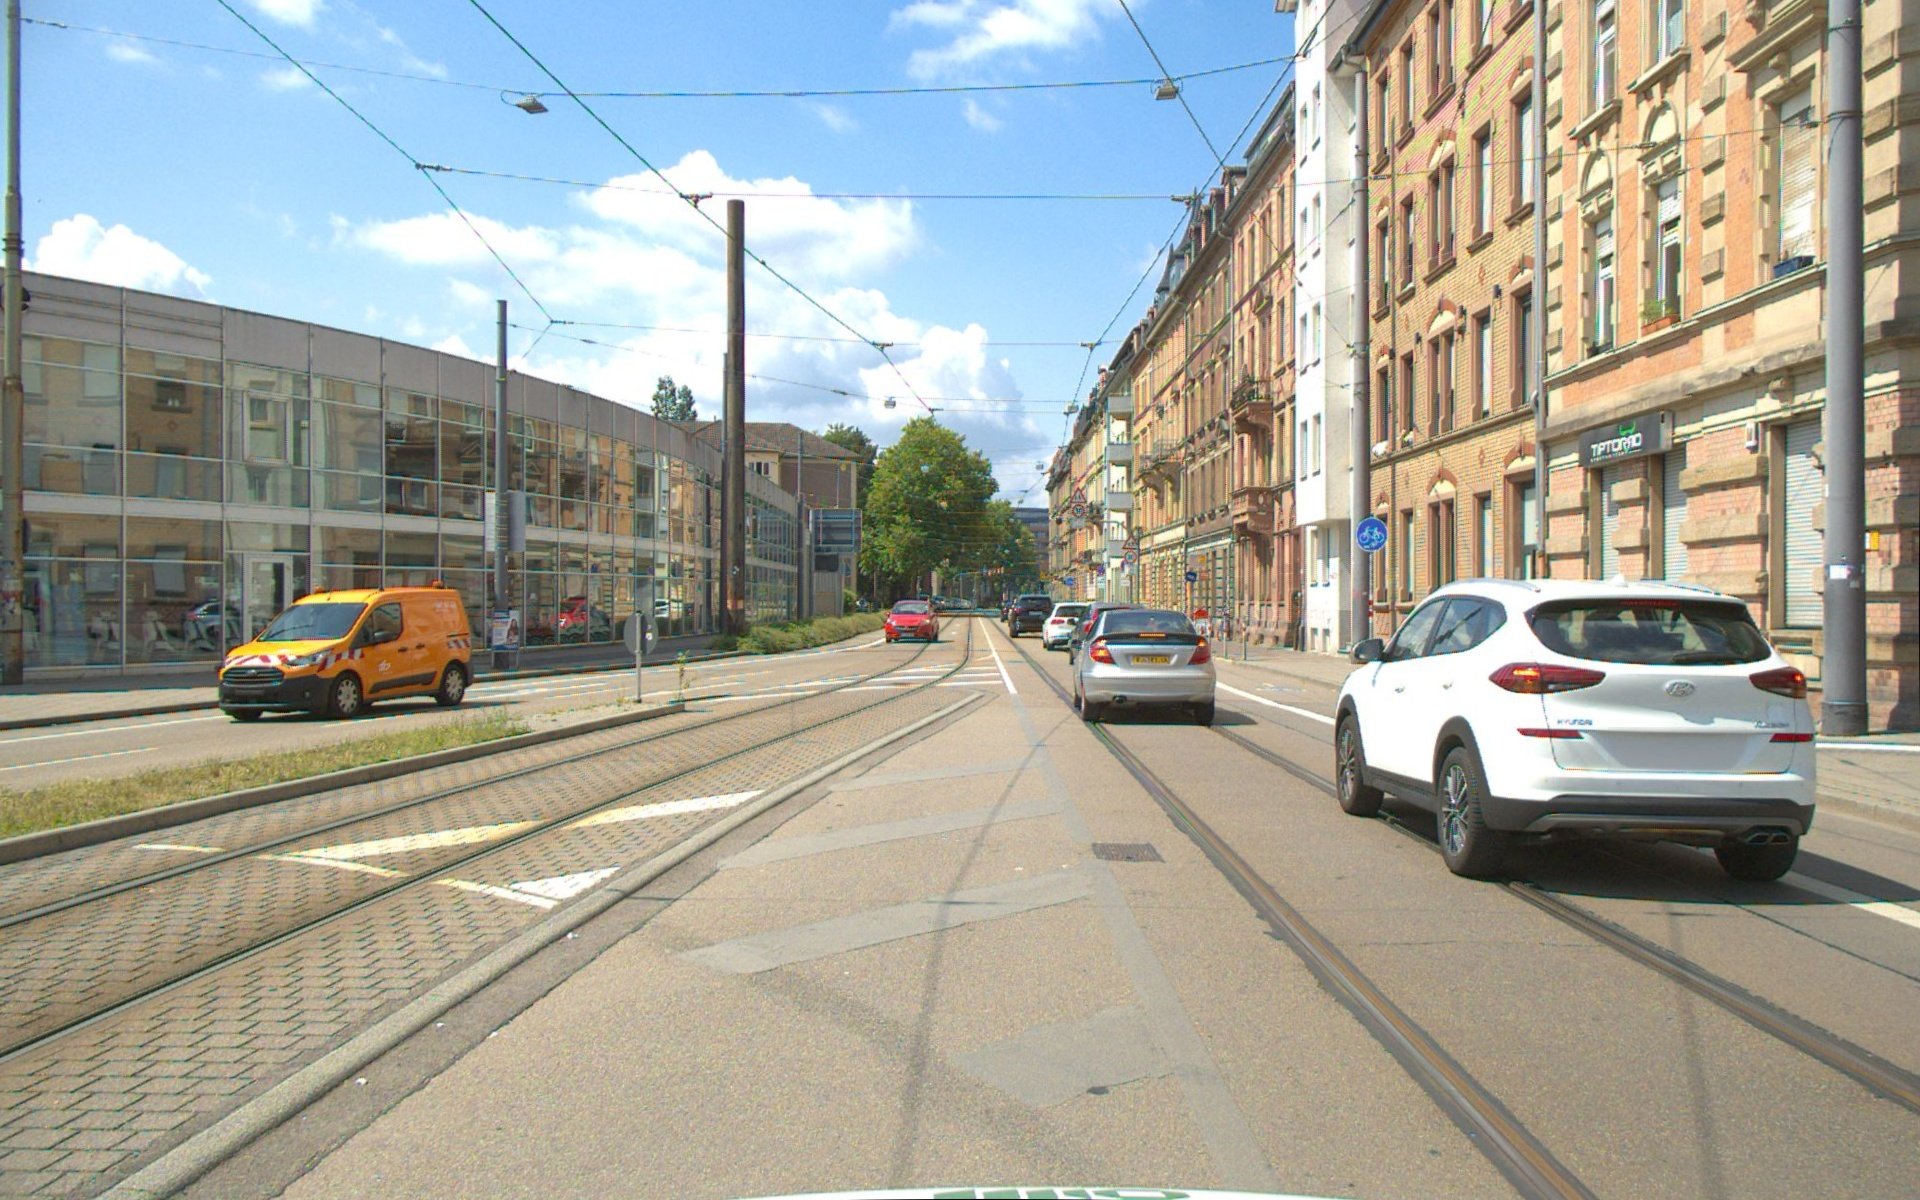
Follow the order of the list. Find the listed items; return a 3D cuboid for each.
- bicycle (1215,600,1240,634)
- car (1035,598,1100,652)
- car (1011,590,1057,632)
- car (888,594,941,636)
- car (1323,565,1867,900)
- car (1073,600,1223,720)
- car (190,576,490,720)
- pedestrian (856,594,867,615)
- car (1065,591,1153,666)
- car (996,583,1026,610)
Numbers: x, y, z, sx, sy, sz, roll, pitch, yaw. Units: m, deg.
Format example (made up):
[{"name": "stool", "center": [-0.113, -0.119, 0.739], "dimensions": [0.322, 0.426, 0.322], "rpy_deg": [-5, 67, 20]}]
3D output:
[{"name": "bicycle", "center": [9.716, 0.611, 60.102], "dimensions": [0.574, 1.199, 2.205], "rpy_deg": [0, 0, 1]}, {"name": "car", "center": [3.314, 0.750, 51.583], "dimensions": [1.777, 1.550, 3.956], "rpy_deg": [0, 1, 0]}, {"name": "car", "center": [3.048, 0.458, 68.880], "dimensions": [1.777, 1.691, 4.085], "rpy_deg": [0, 0, 0]}, {"name": "car", "center": [-1.594, 0.515, 59.190], "dimensions": [1.666, 1.453, 3.902], "rpy_deg": [0, 0, 1]}, {"name": "car", "center": [3.665, 0.663, 10.435], "dimensions": [1.814, 1.662, 4.180], "rpy_deg": [1, 0, 0]}, {"name": "car", "center": [2.420, 0.726, 22.146], "dimensions": [1.776, 1.445, 4.189], "rpy_deg": [0, 0, 3]}, {"name": "car", "center": [-8.888, 0.623, 24.156], "dimensions": [1.870, 1.898, 4.371], "rpy_deg": [-1, 0, 15]}, {"name": "pedestrian", "center": [-8.943, 0.427, 149.822], "dimensions": [0.862, 1.898, 1.081], "rpy_deg": [-1, 0, 1]}, {"name": "car", "center": [3.302, 0.599, 37.190], "dimensions": [1.776, 1.550, 4.087], "rpy_deg": [0, 1, 2]}, {"name": "car", "center": [3.584, -0.263, 117.206], "dimensions": [1.953, 1.892, 3.999], "rpy_deg": [0, 0, -1]}]
